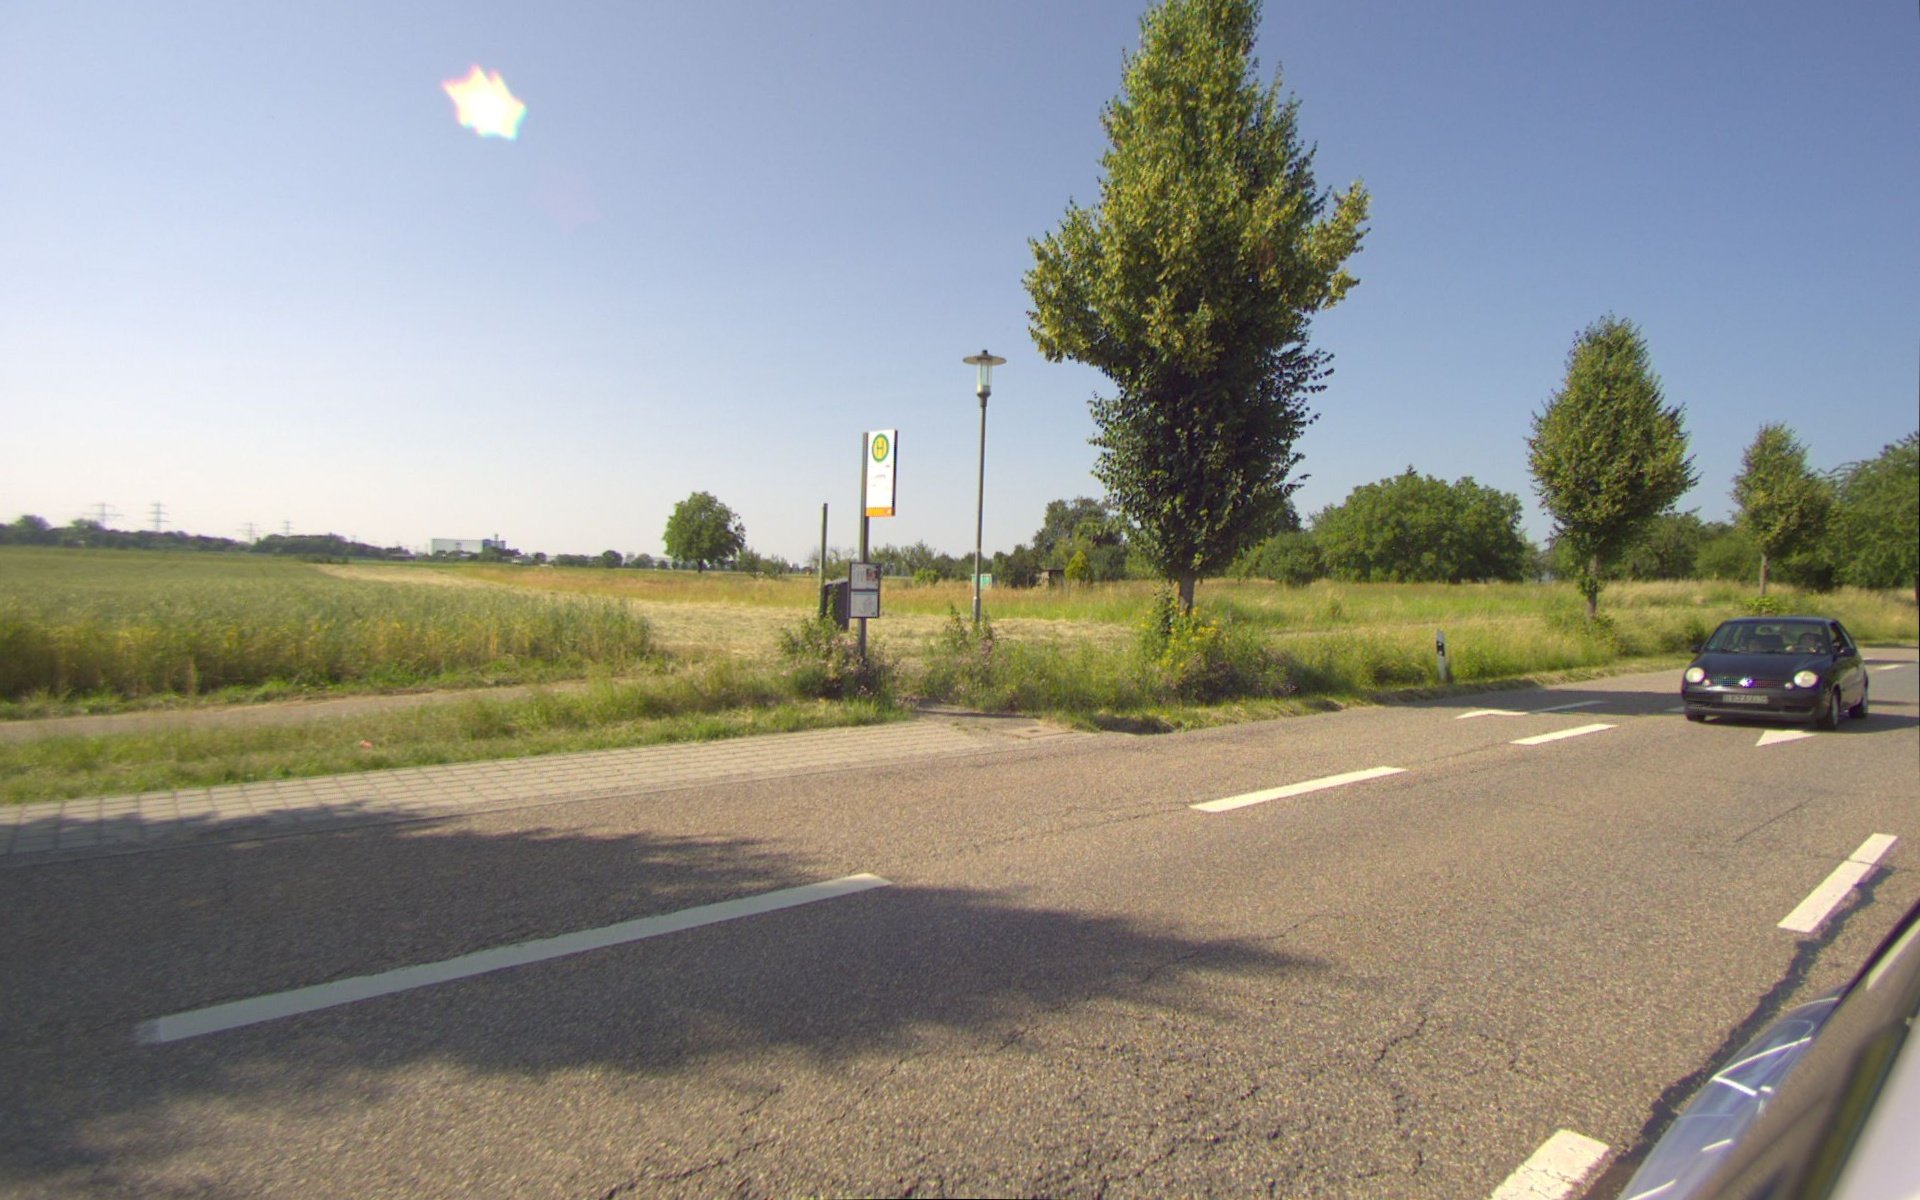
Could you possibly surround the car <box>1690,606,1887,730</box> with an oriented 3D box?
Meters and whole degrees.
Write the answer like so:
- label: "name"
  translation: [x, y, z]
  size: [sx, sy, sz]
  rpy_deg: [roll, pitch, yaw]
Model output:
- label: "car"
  translation: [11.391, 0.821, 13.848]
  size: [3.561, 1.451, 1.627]
  rpy_deg: [0, 0, -43]
